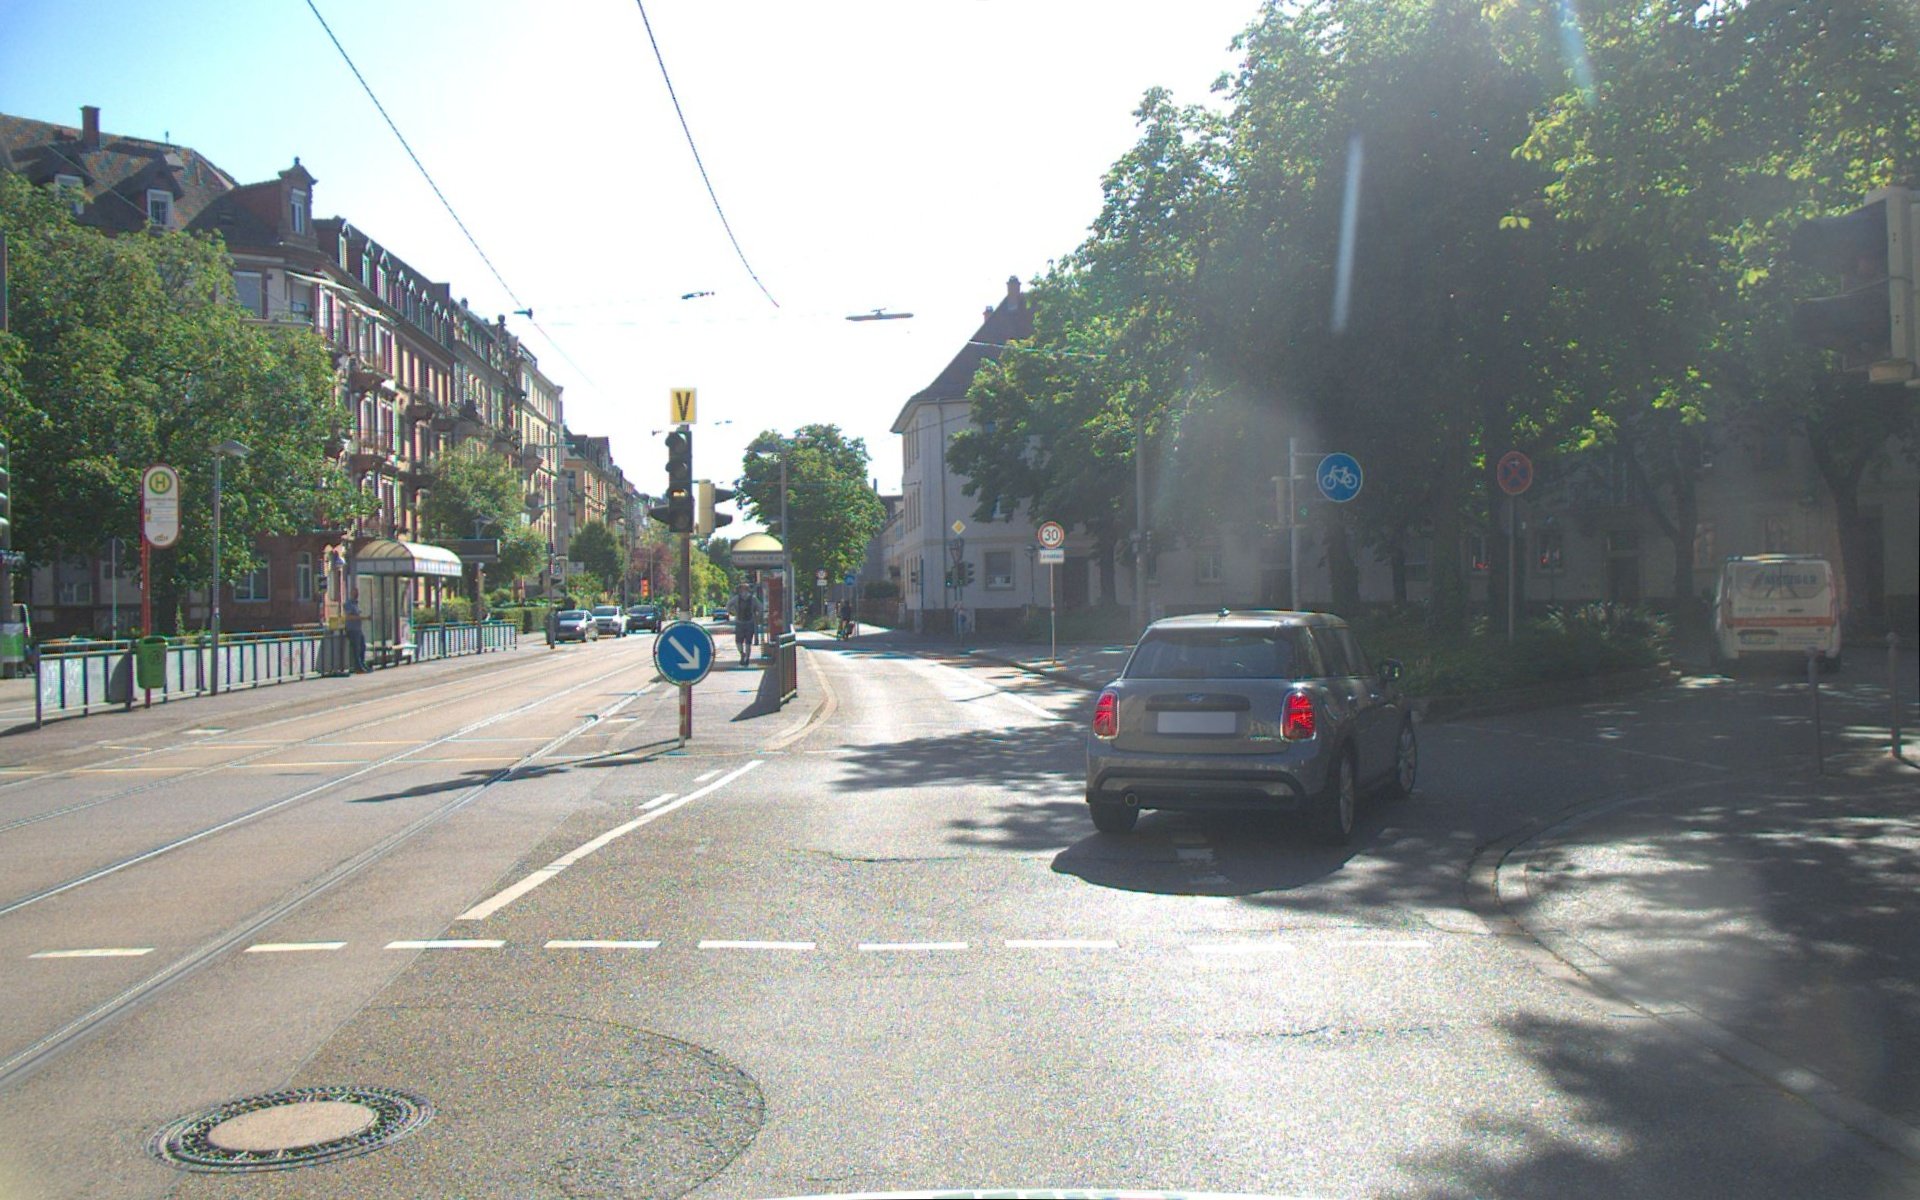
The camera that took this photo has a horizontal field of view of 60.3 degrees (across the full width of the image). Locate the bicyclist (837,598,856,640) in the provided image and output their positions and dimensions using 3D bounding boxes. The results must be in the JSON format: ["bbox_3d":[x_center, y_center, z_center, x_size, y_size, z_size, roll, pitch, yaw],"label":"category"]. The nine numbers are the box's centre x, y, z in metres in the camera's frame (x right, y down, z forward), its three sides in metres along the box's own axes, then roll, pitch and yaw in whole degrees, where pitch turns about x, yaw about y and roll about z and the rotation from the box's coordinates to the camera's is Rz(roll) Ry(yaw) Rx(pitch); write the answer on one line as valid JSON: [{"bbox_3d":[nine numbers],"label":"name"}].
[{"bbox_3d":[-5.051,0.857,73.329,0.802,1.843,1.057,0,-1,-6],"label":"bicyclist"}]

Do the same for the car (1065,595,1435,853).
[{"bbox_3d":[2.250,0.757,11.908,1.778,1.514,3.999,-1,-1,23],"label":"car"}]

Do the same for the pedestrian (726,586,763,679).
[{"bbox_3d":[-4.785,0.723,36.773,0.780,2.049,0.739,0,-1,-6],"label":"pedestrian"}]

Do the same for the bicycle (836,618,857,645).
[{"bbox_3d":[-5.042,1.384,73.308,0.825,1.176,2.535,0,-1,-6],"label":"bicycle"}]

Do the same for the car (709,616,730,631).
[{"bbox_3d":[-26.556,2.576,182.864,1.954,1.624,3.997,0,-1,-4],"label":"car"}]

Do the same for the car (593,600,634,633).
[{"bbox_3d":[-17.623,0.850,84.313,1.742,1.646,3.993,0,-1,-7],"label":"car"}]

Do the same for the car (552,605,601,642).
[{"bbox_3d":[-17.234,1.060,74.500,1.742,1.646,3.993,0,-1,-7],"label":"car"}]

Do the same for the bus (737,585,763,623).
[{"bbox_3d":[-20.217,0.384,158.883,2.341,3.558,7.370,0,-1,-8],"label":"bus"}]

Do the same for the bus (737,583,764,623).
[{"bbox_3d":[-19.185,0.343,151.560,2.341,3.558,7.370,0,-1,-8],"label":"bus"}]

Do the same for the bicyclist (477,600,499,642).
[{"bbox_3d":[-19.388,0.858,67.908,0.699,1.695,0.734,0,-1,-2],"label":"bicyclist"}]

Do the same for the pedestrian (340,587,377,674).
[{"bbox_3d":[-12.898,0.642,35.466,0.594,1.826,0.578,-1,0,-8],"label":"pedestrian"}]

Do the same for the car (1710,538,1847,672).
[{"bbox_3d":[14.982,0.120,30.499,2.076,2.247,4.941,-1,-1,25],"label":"car"}]

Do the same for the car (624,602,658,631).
[{"bbox_3d":[-18.952,1.000,98.401,1.742,1.646,3.993,0,-1,-7],"label":"car"}]

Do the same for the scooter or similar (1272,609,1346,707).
[{"bbox_3d":[4.907,0.802,23.326,0.663,1.333,1.327,0,-1,-5],"label":"scooter or similar"}]

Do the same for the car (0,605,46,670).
[{"bbox_3d":[-31.821,1.202,52.314,4.953,2.049,1.983,0,-1,-27],"label":"car"}]
